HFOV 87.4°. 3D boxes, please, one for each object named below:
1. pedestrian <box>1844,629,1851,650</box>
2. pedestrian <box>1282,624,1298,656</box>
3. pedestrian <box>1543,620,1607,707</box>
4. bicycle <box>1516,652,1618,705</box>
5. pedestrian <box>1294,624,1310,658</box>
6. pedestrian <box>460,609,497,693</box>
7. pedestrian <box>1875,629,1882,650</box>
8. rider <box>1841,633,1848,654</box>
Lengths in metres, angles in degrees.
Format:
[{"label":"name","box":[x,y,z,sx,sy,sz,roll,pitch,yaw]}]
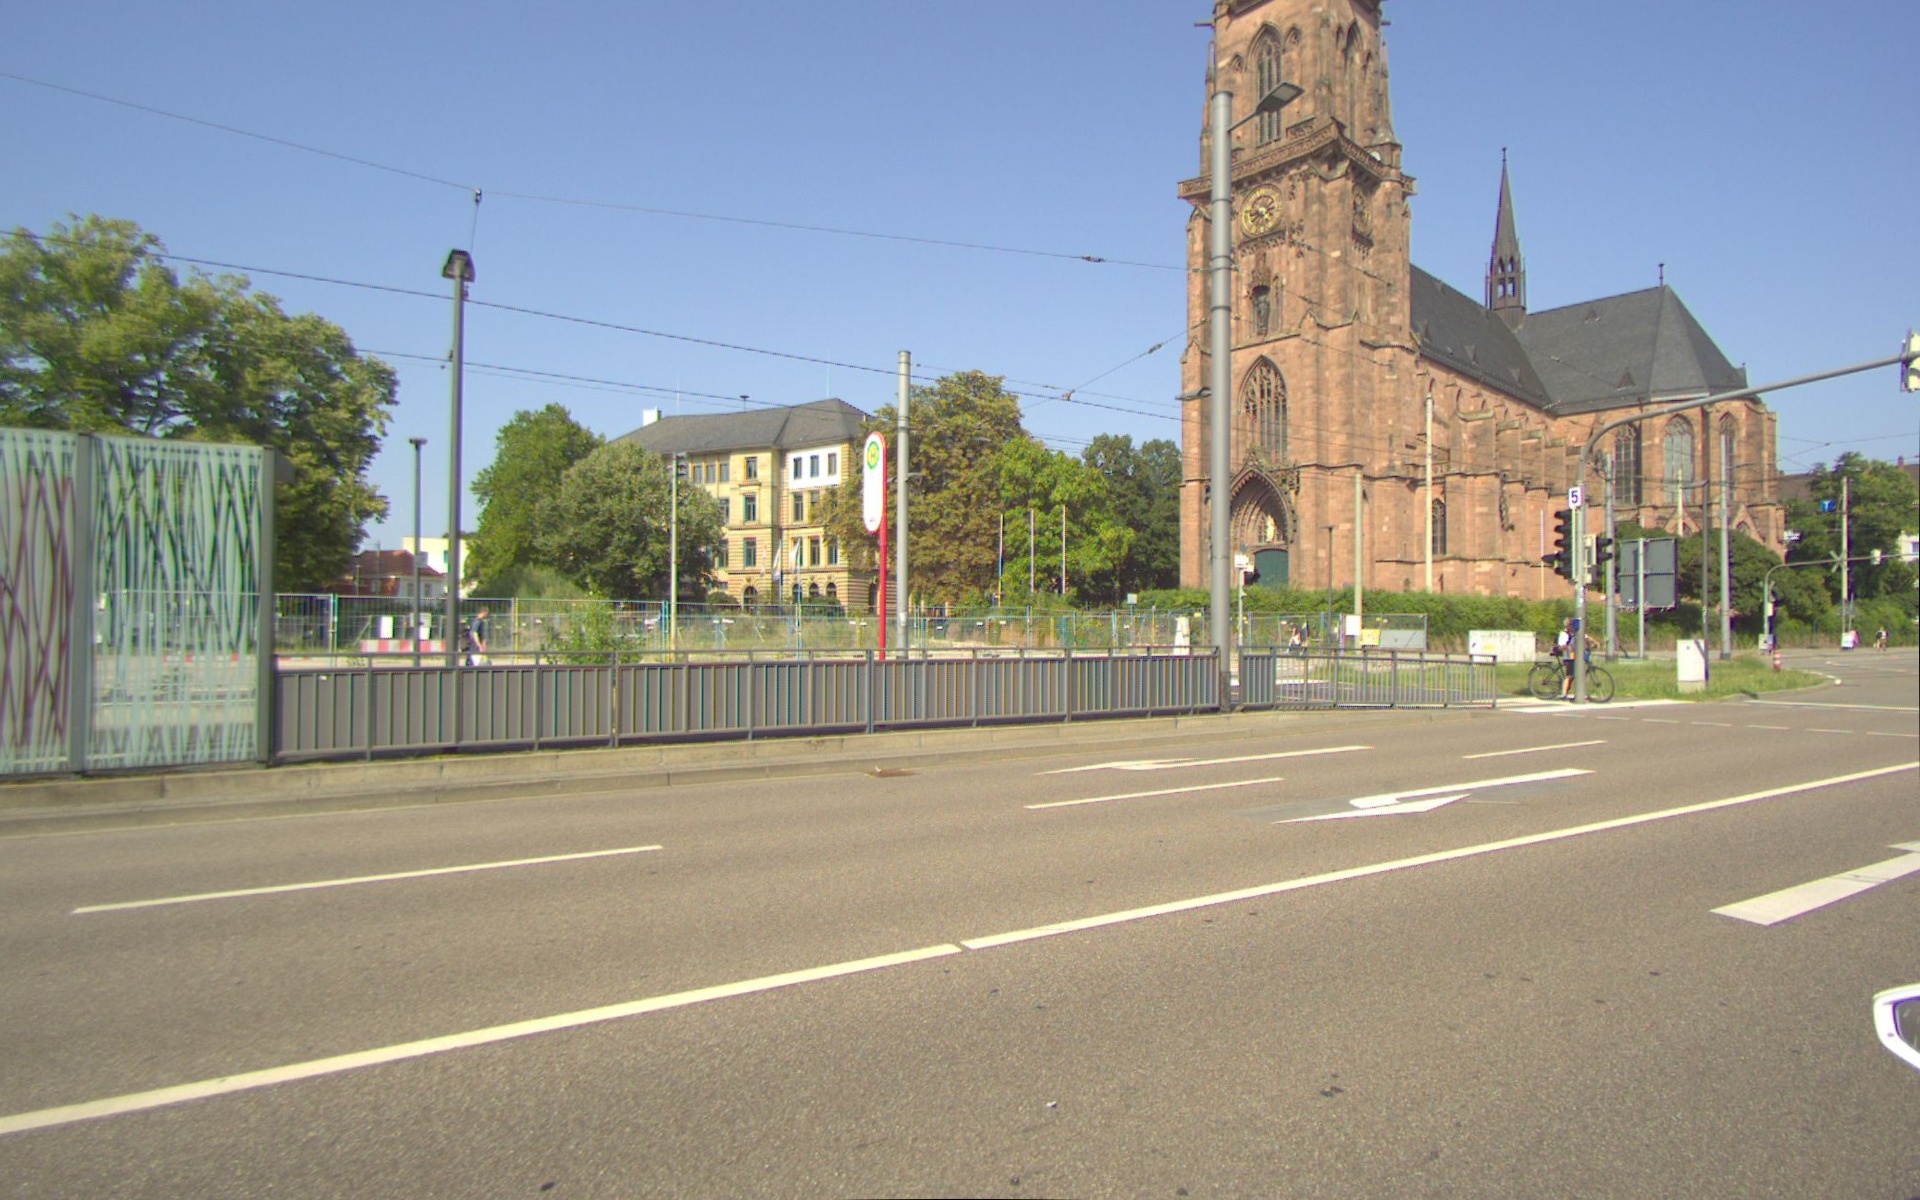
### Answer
[{"label":"pedestrian","box":[65.852,2.959,74.542,0.337,1.538,0.302,1,-2,-34]},{"label":"pedestrian","box":[16.549,2.008,50.390,0.534,1.596,0.659,-1,-2,40]},{"label":"pedestrian","box":[12.304,1.257,20.115,0.595,1.701,0.912,1,-2,-31]},{"label":"bicycle","box":[12.250,1.563,20.312,0.474,0.991,1.749,1,-2,-31]},{"label":"pedestrian","box":[16.016,1.925,47.021,0.546,1.596,0.489,1,-2,-31]},{"label":"pedestrian","box":[-10.114,1.061,21.099,0.657,1.723,0.514,1,-1,-31]},{"label":"pedestrian","box":[68.184,2.957,74.547,0.337,1.538,0.302,1,-2,-34]},{"label":"rider","box":[61.048,2.969,69.304,0.247,1.450,0.305,1,-2,-33]}]
